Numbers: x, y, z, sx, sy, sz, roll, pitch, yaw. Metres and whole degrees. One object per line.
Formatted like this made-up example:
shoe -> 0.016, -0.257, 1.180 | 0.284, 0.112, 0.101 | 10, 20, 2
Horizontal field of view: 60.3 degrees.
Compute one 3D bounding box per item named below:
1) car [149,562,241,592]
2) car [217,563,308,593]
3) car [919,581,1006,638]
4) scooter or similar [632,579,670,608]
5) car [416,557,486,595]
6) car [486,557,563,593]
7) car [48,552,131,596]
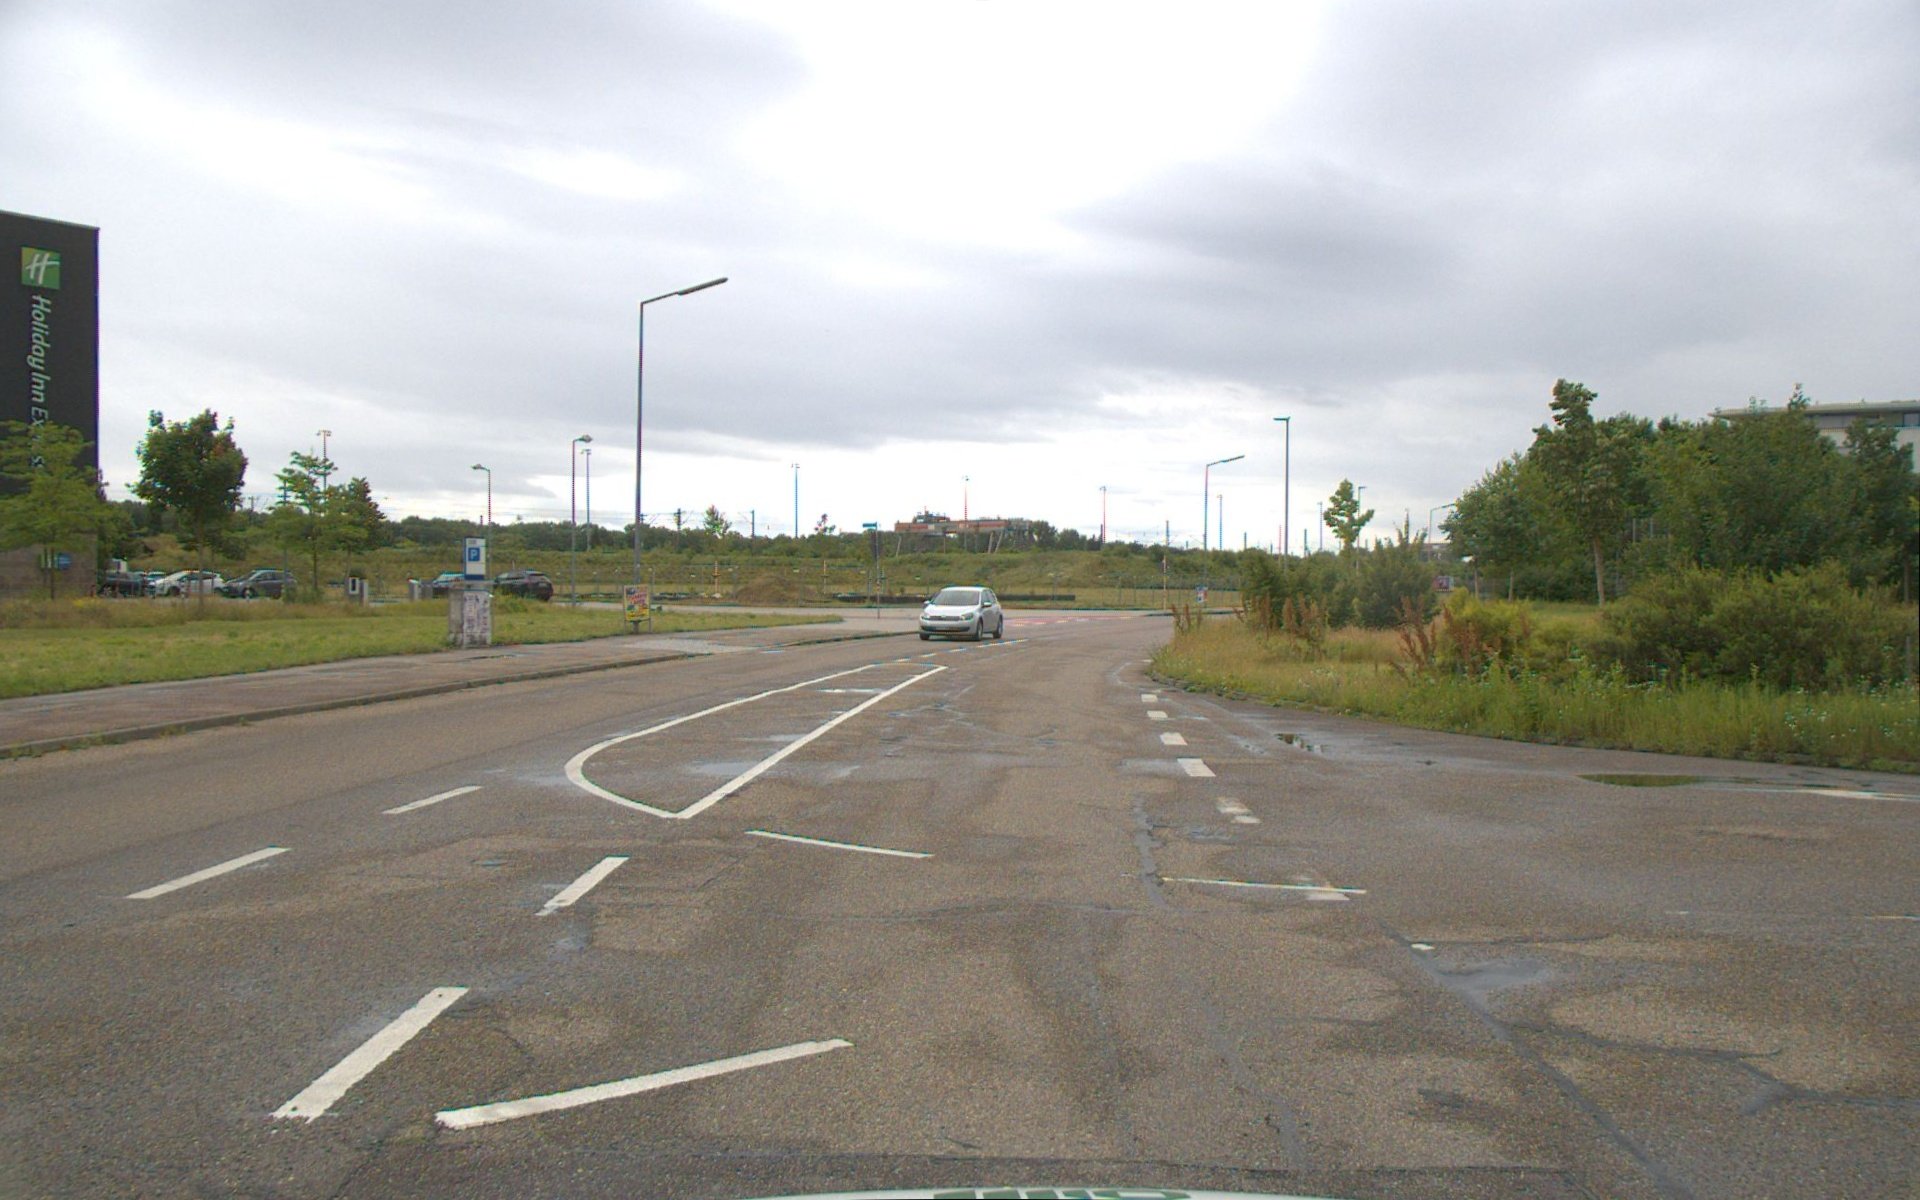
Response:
car -> -40.930, -1.265, 88.590 | 1.955, 1.544, 4.148 | 1, 2, 28
car -> -35.354, -1.141, 83.910 | 1.664, 1.467, 3.988 | 1, 2, 34
car -> 0.119, 0.233, 47.432 | 1.636, 1.487, 4.060 | 3, 1, 12
scooter or similar -> -12.884, -0.275, 69.059 | 1.431, 1.188, 0.572 | 2, 1, 10
car -> -28.264, -1.343, 91.748 | 3.929, 2.048, 1.988 | 2, 2, 42
car -> -23.238, -1.370, 88.202 | 3.922, 1.854, 1.992 | 1, 2, 37
car -> -61.211, -1.877, 116.221 | 6.447, 3.008, 2.704 | 1, 2, 37
